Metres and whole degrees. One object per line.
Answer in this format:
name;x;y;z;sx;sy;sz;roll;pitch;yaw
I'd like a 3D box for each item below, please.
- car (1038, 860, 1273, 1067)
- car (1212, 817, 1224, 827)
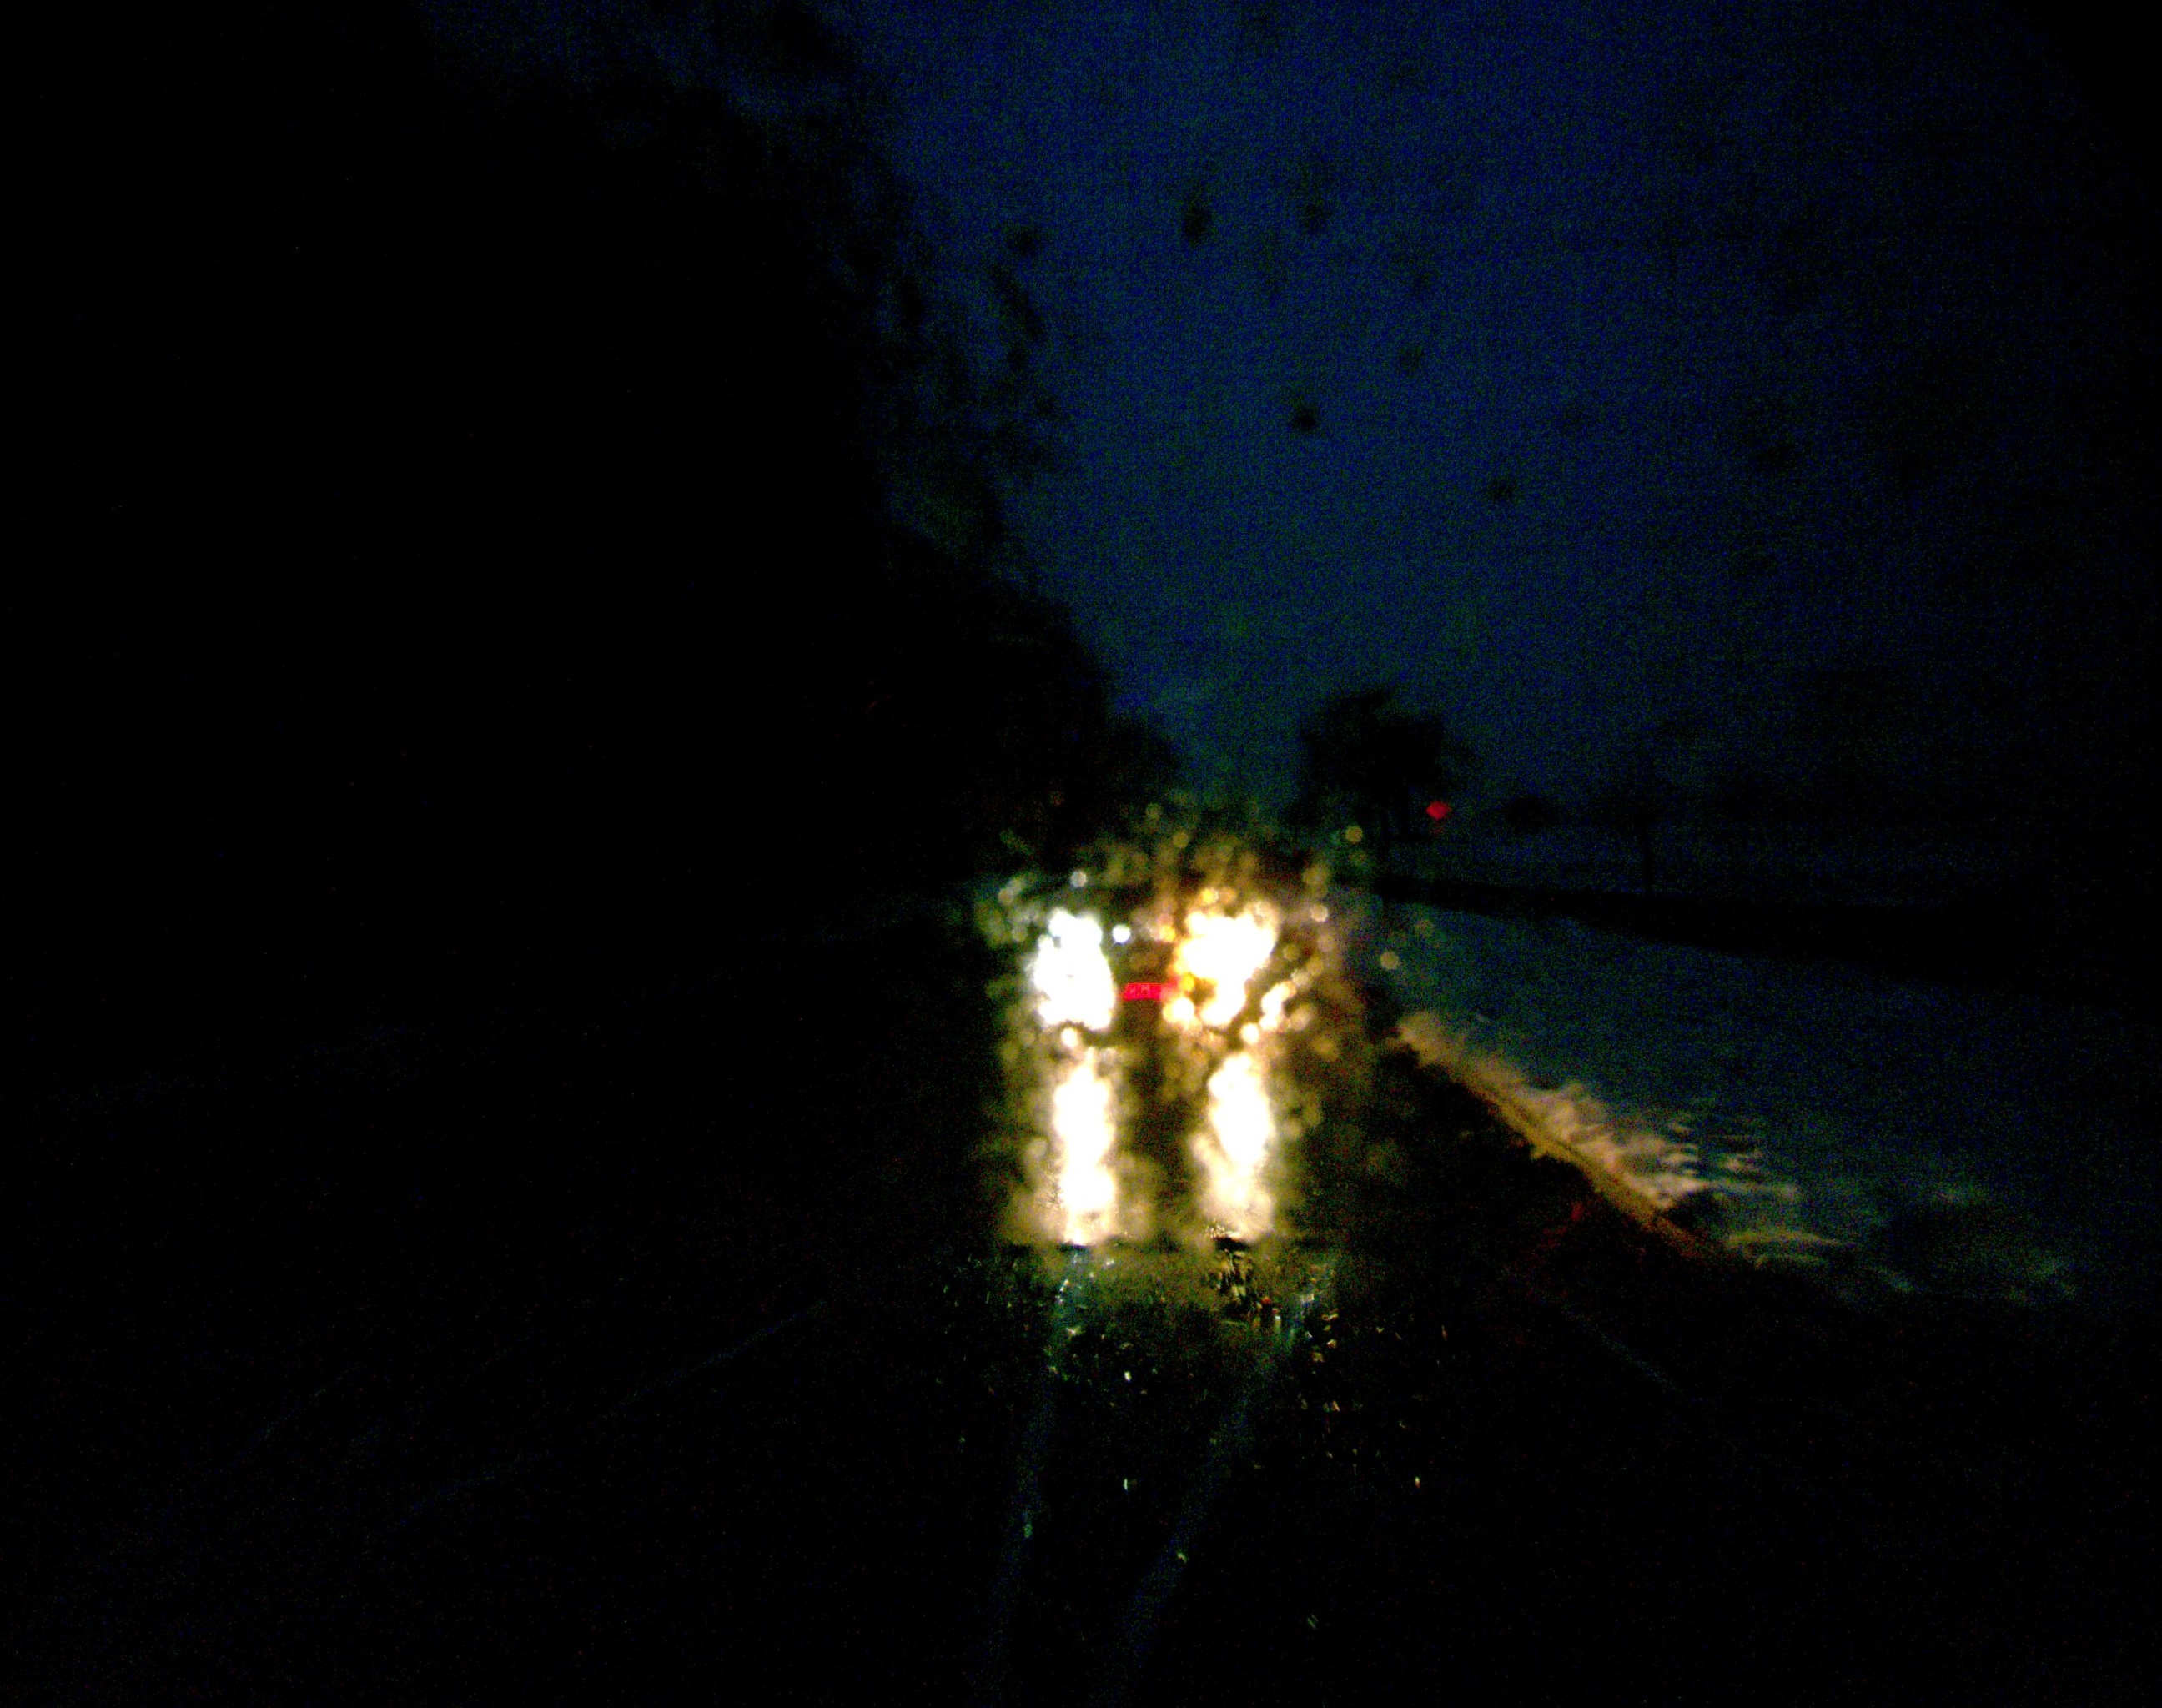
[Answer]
car;0.710;0.863;7.616;1.724;1.426;3.677;-2;1;5
car;25.751;-5.978;142.904;1.997;1.797;4.001;-2;2;9
